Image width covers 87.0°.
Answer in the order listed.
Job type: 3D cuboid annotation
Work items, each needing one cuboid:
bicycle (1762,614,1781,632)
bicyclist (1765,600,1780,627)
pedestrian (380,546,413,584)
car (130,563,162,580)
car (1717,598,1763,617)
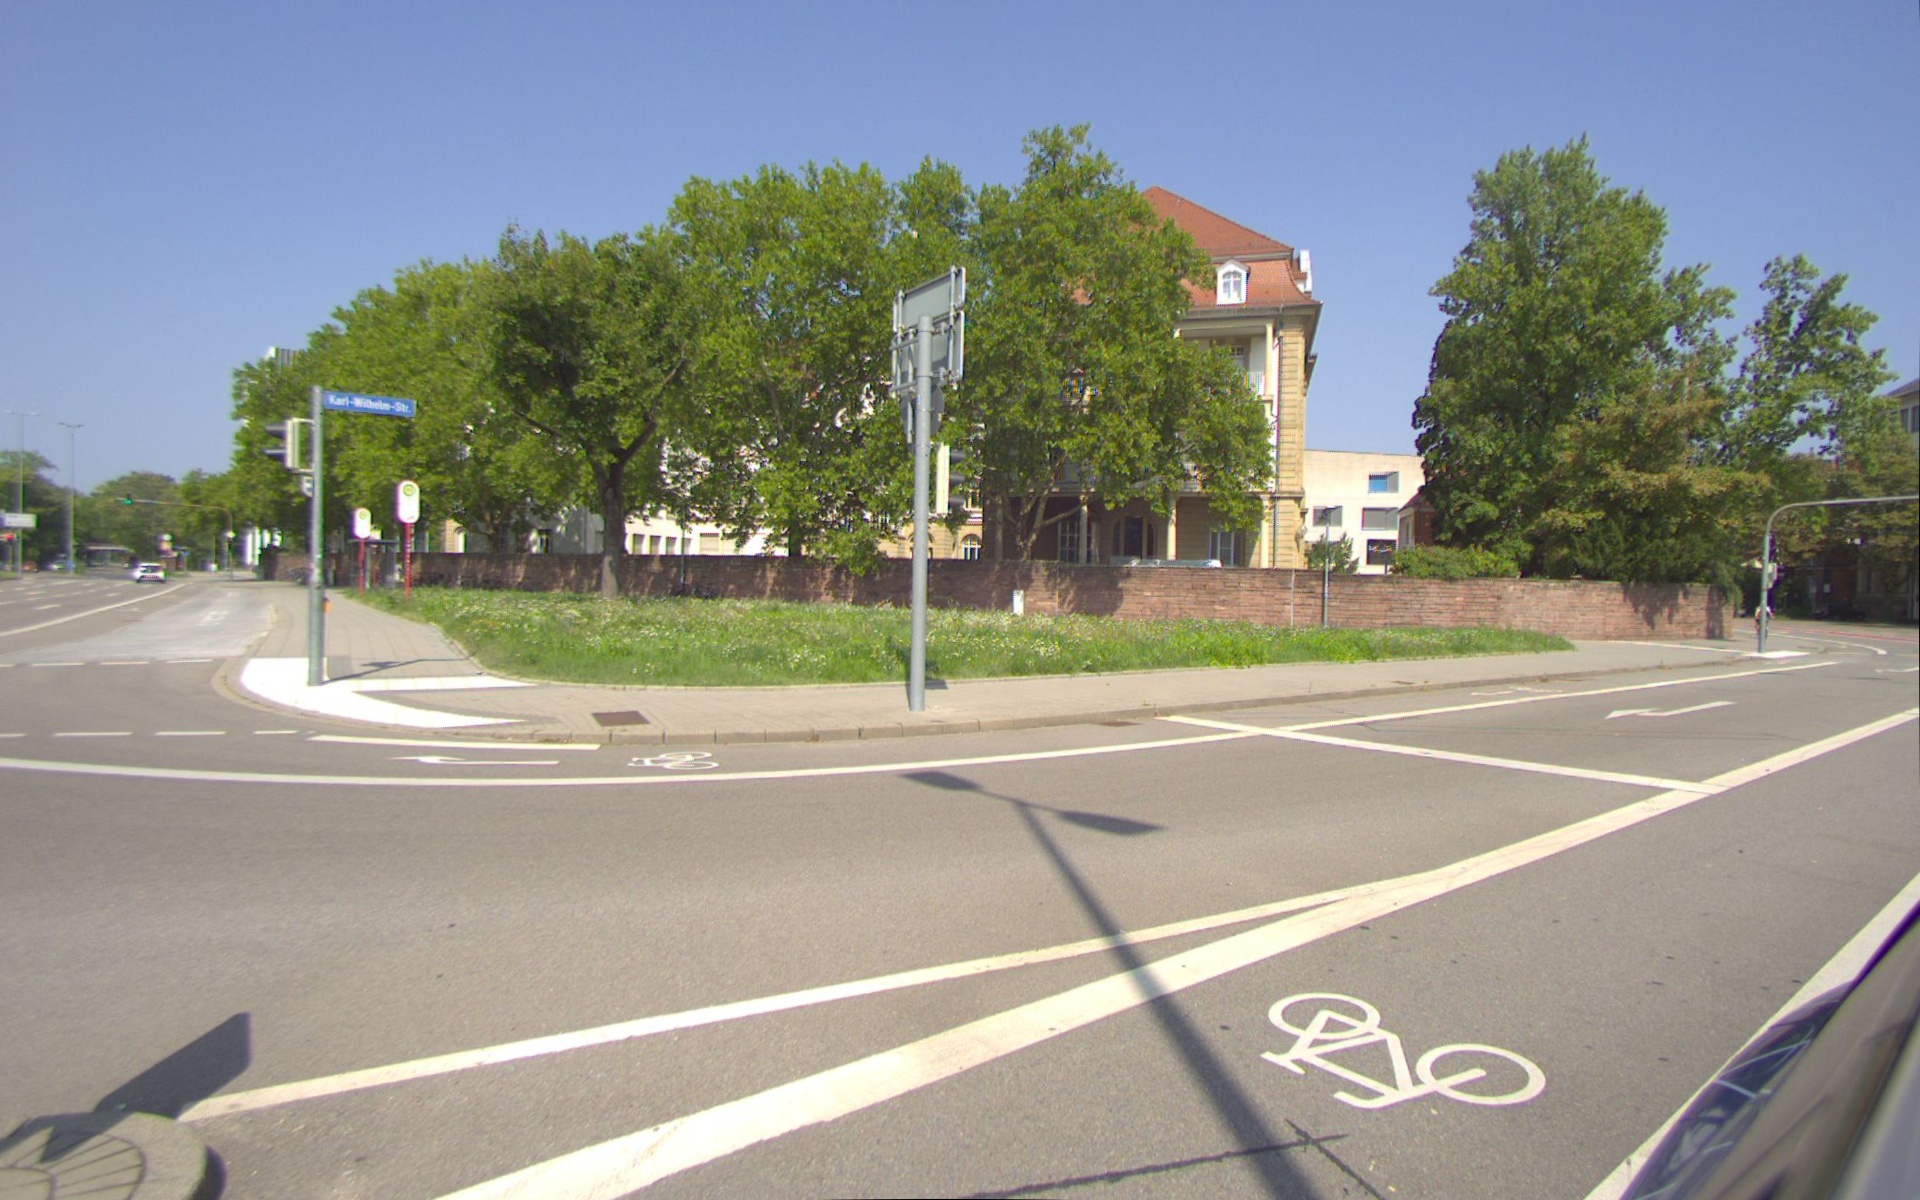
[{"bbox_3d":[38.218,1.064,47.644,1.460,0.822,0.437,0,1,-41],"label":"bicycle"},{"bbox_3d":[38.246,0.633,47.656,0.531,1.248,0.432,0,1,-41],"label":"bicyclist"},{"bbox_3d":[-30.894,-1.938,55.481,1.226,2.039,1.060,2,1,32],"label":"pedestrian"},{"bbox_3d":[-58.745,-2.078,73.076,1.560,1.151,3.265,1,1,-35],"label":"car"},{"bbox_3d":[69.811,0.652,90.617,1.862,1.616,3.980,2,1,16],"label":"car"}]
